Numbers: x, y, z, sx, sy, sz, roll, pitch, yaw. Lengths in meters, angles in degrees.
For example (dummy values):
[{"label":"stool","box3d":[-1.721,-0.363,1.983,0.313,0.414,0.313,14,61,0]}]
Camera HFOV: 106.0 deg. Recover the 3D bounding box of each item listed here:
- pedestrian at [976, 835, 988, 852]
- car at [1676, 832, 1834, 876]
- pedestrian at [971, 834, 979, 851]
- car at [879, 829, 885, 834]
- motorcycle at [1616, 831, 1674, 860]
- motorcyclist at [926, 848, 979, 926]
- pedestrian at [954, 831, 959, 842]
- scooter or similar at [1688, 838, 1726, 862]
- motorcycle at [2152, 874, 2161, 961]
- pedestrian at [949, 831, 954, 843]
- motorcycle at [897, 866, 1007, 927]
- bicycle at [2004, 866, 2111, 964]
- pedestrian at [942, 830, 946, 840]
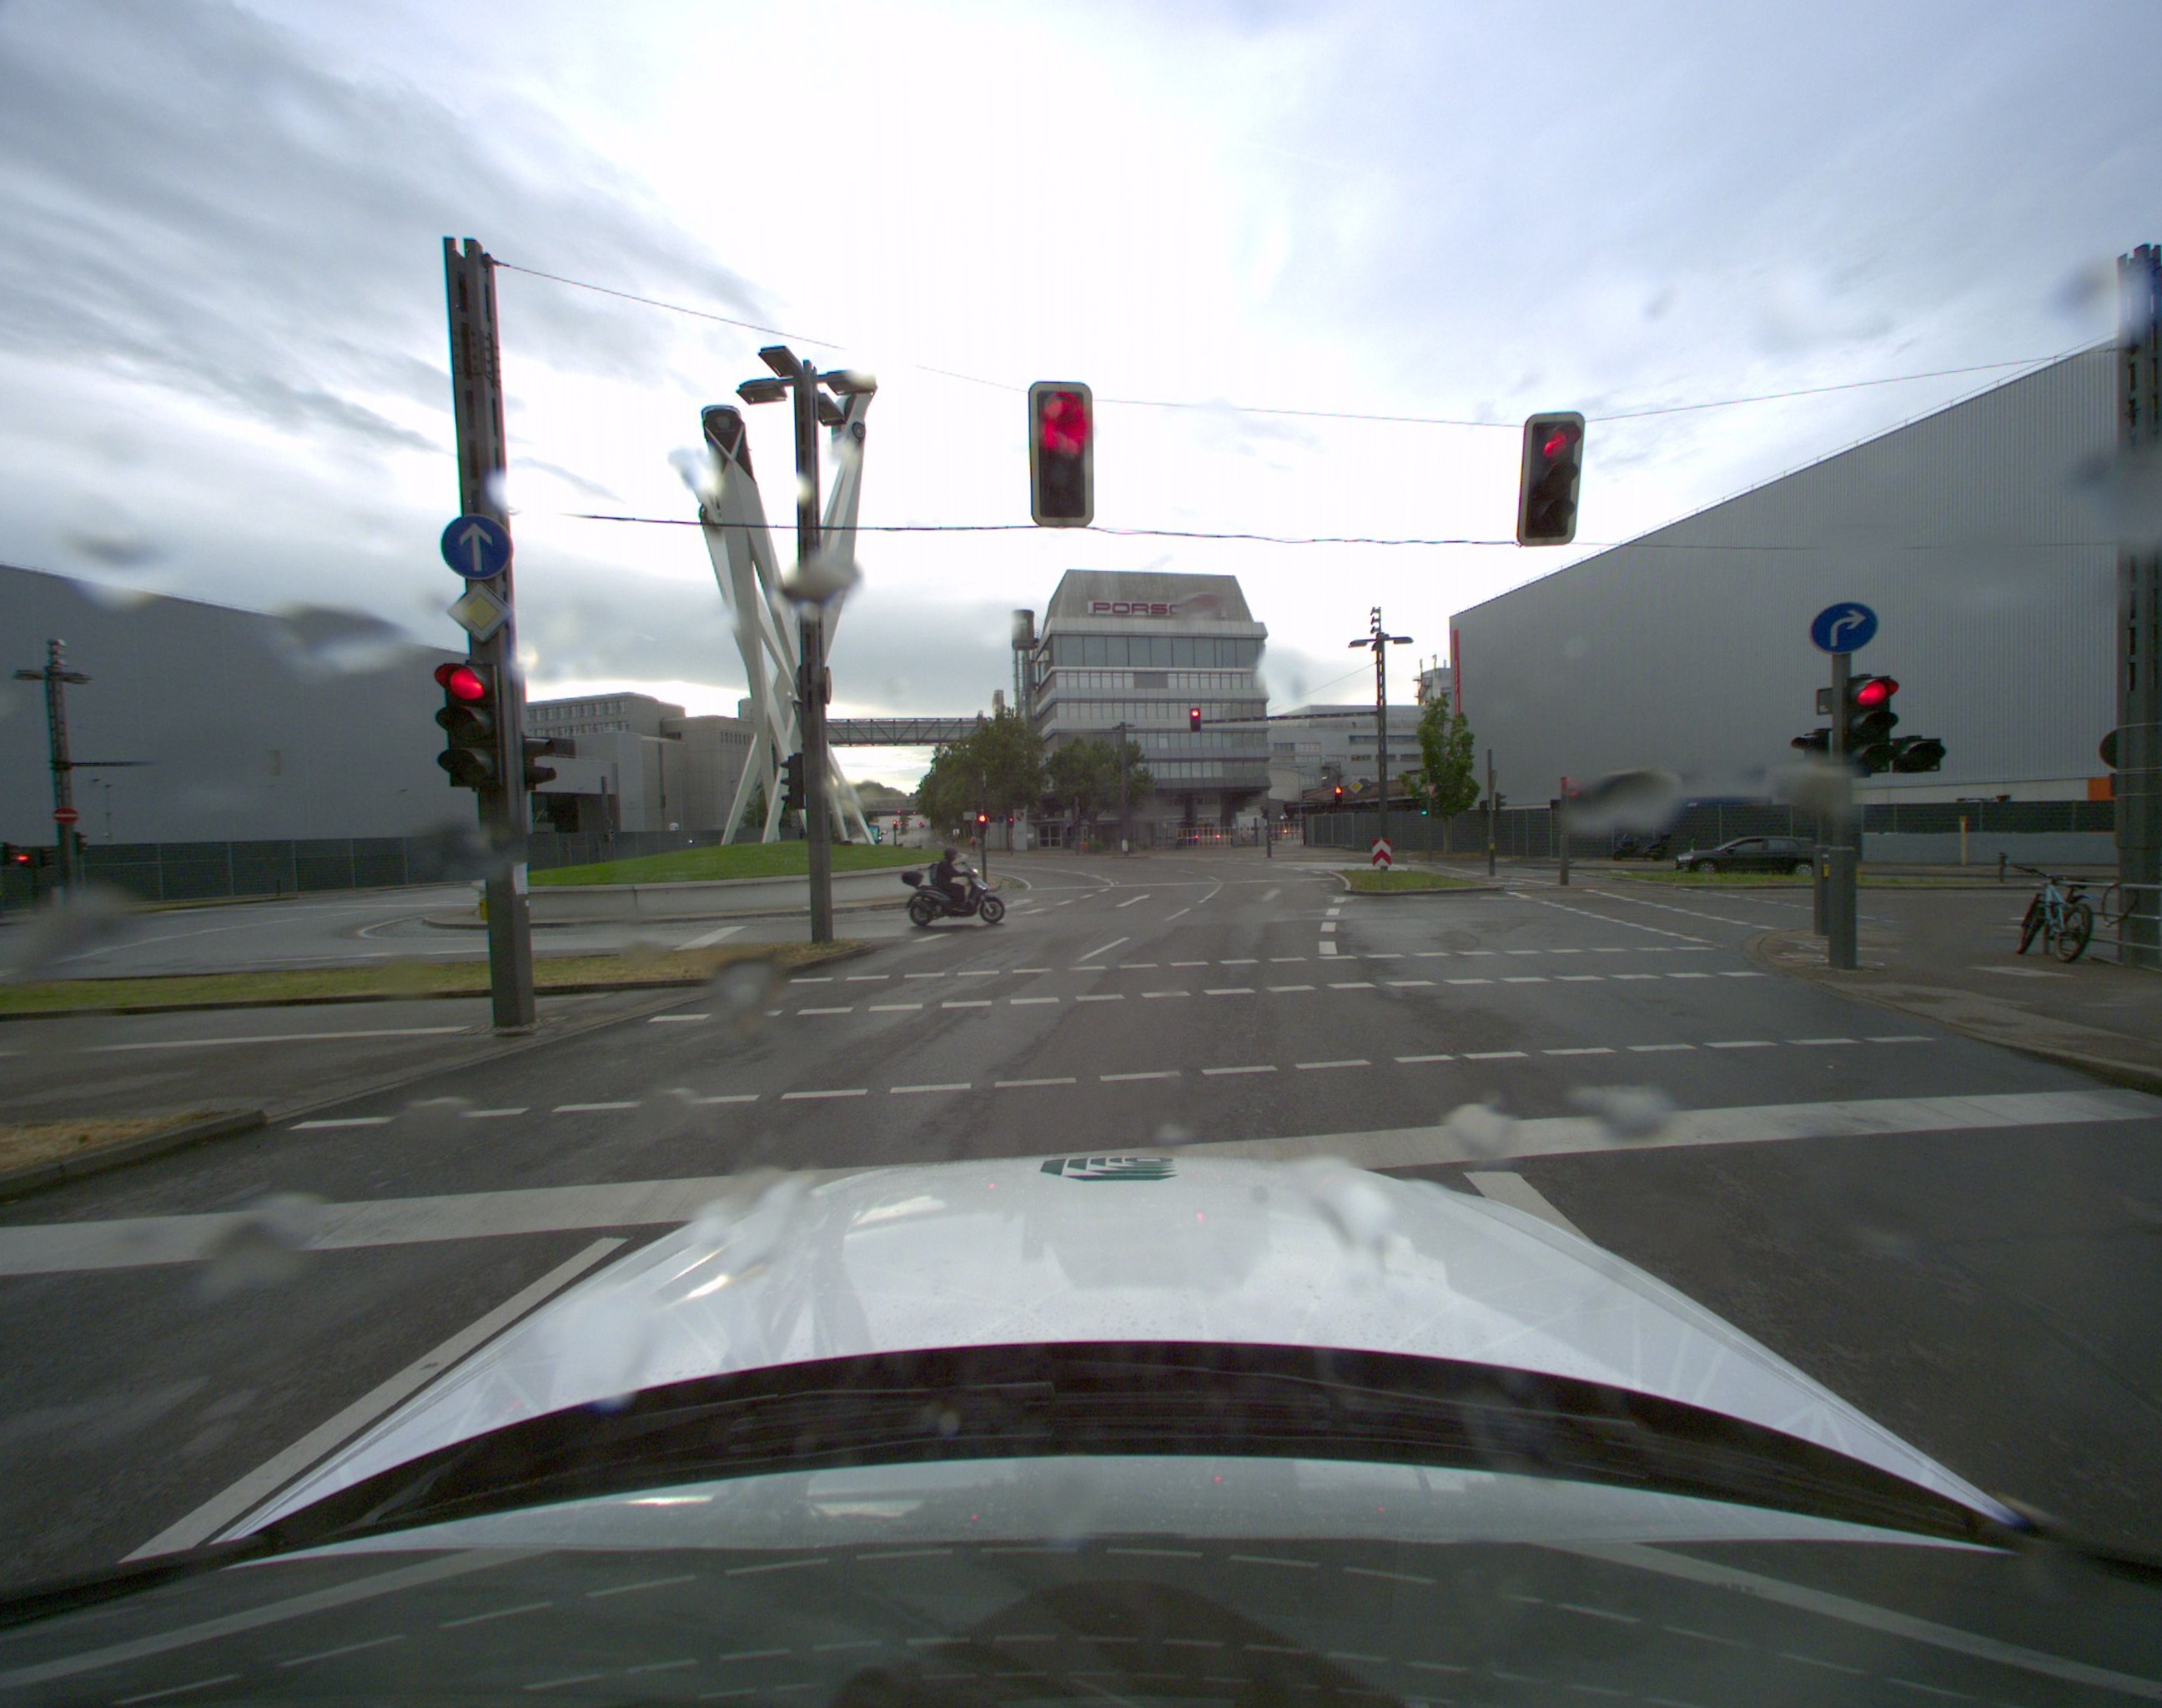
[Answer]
[{"label":"pedestrian","box3d":[-9.228,-0.983,75.950,0.835,1.520,0.836,-3,2,-22]},{"label":"car","box3d":[22.820,-0.017,27.777,3.949,1.425,1.732,0,1,31]},{"label":"pedestrian","box3d":[-10.018,-1.070,76.974,0.708,1.591,0.839,-2,2,-7]},{"label":"car","box3d":[-59.886,-6.790,244.947,1.886,1.550,4.486,-1,1,-14]},{"label":"motorcycle","box3d":[25.575,-0.399,36.961,2.074,1.310,0.659,0,2,27]},{"label":"motorcyclist","box3d":[-2.747,0.690,17.503,1.029,1.622,0.670,-2,0,-4]},{"label":"pedestrian","box3d":[-20.012,-2.850,131.094,0.757,1.740,0.712,0,-1,-8]},{"label":"scooter or similar","box3d":[27.502,-0.186,35.778,0.387,1.028,1.259,-2,2,-29]},{"label":"motorcycle","box3d":[15.151,0.827,10.333,2.074,1.145,0.490,0,-1,11]},{"label":"pedestrian","box3d":[-19.500,-2.569,122.807,0.712,1.740,0.757,0,-1,-12]},{"label":"motorcycle","box3d":[-2.753,0.902,17.496,2.255,1.192,0.450,-2,0,-4]},{"label":"bicycle","box3d":[12.566,0.733,10.535,0.416,1.130,2.086,-1,-1,37]},{"label":"pedestrian","box3d":[-28.078,-3.982,166.960,0.761,2.013,0.693,-1,1,5]}]
